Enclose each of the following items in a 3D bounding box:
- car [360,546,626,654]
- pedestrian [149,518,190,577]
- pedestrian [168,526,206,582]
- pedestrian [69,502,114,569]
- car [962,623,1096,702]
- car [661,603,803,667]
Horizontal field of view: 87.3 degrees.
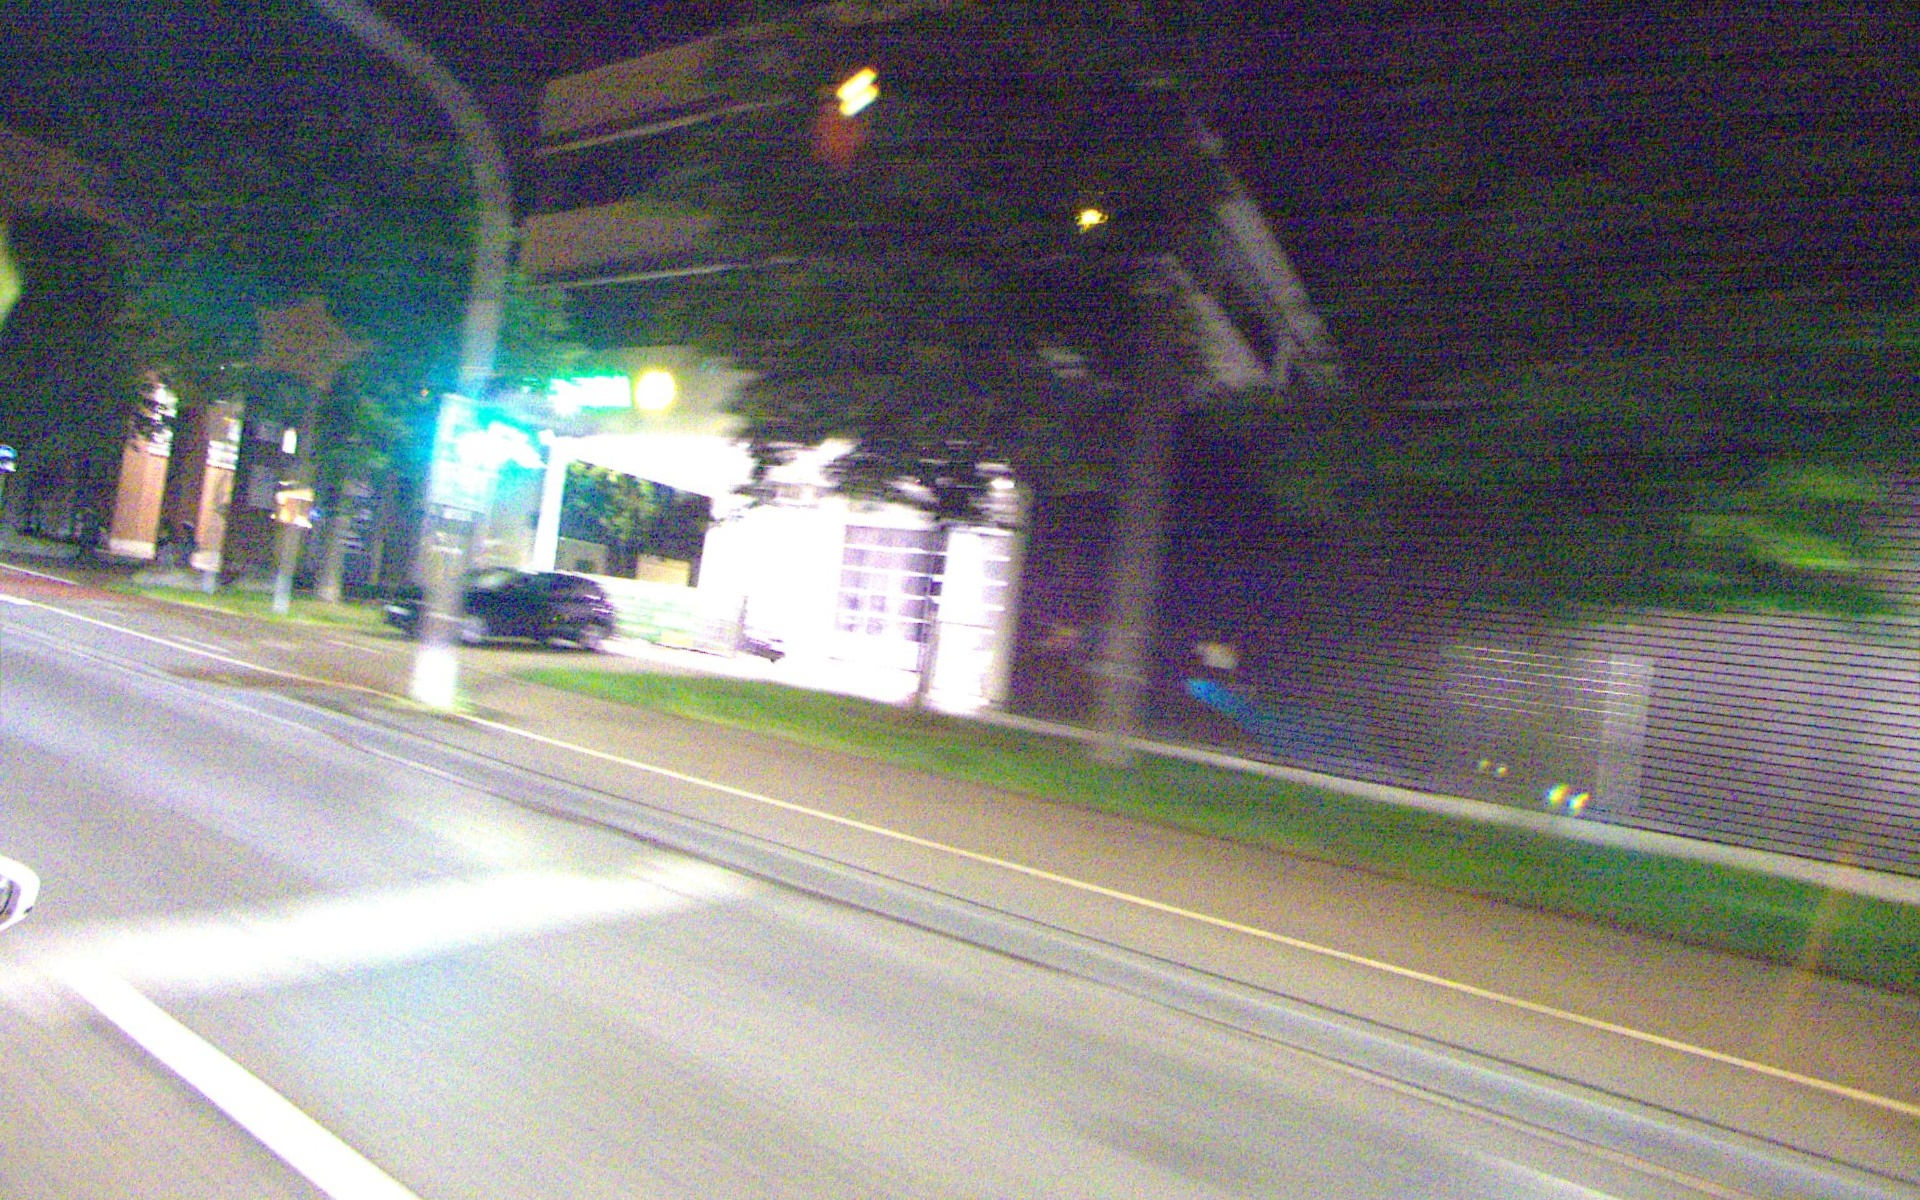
[{"bbox_3d":[-8.489,0.074,18.652,1.757,1.471,4.090,6,-2,31],"label":"car"},{"bbox_3d":[-24.045,-1.593,30.603,0.668,1.658,0.622,7,-1,32],"label":"pedestrian"},{"bbox_3d":[-23.100,-1.382,30.071,0.623,1.551,0.573,7,-1,32],"label":"pedestrian"},{"bbox_3d":[-25.401,-1.876,29.433,0.746,1.832,0.622,7,-1,32],"label":"pedestrian"},{"bbox_3d":[1.776,1.585,24.684,1.686,1.584,3.961,6,-3,28],"label":"car"},{"bbox_3d":[-5.963,0.901,26.235,3.481,1.181,1.461,6,-3,31],"label":"car"}]
